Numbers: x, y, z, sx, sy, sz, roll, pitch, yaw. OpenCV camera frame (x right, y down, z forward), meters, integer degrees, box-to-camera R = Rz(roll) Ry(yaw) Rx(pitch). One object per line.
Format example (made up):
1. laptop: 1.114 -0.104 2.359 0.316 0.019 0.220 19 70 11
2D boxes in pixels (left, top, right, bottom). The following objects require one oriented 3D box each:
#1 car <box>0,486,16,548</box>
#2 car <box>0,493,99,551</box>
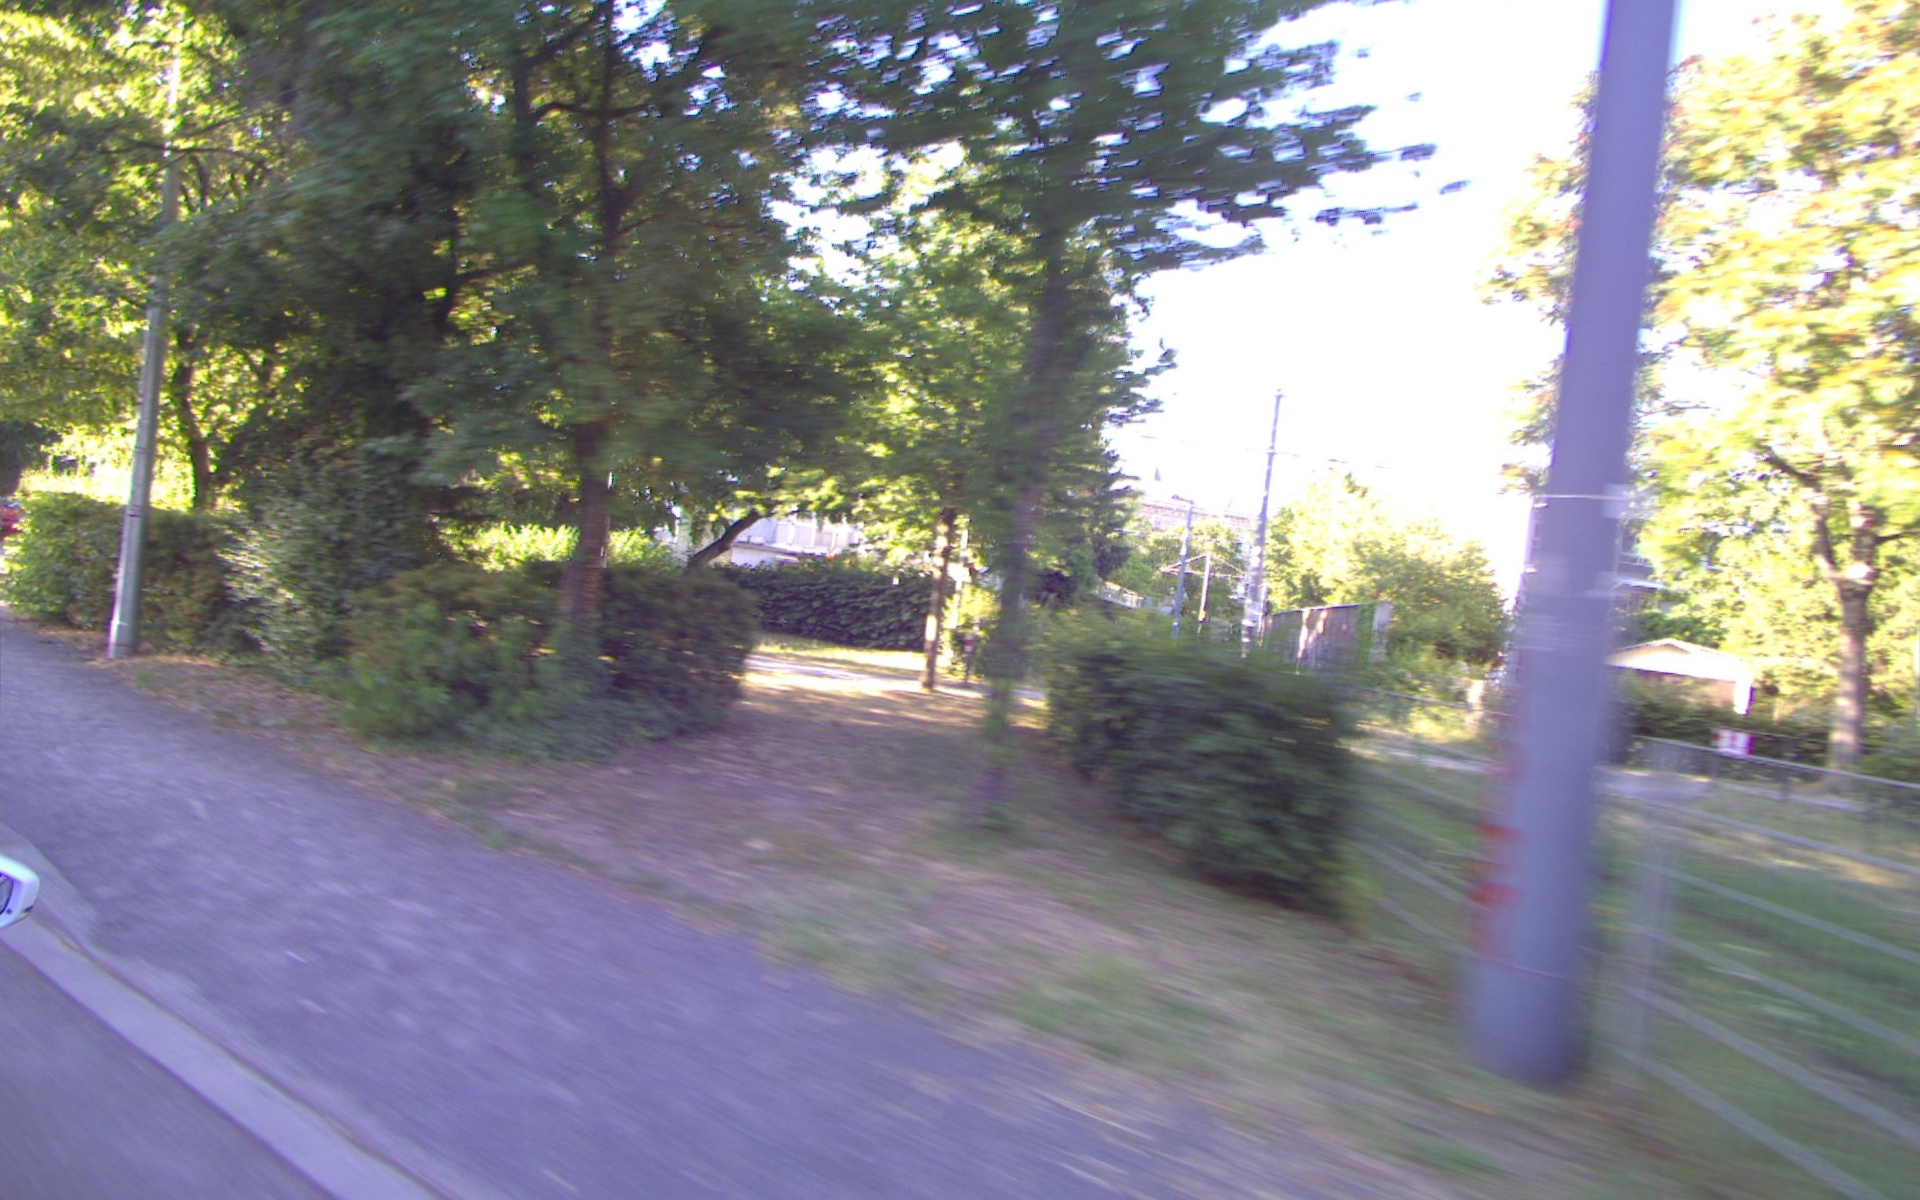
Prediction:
1. car: -26.990 -2.401 25.899 1.779 1.695 4.310 9 -1 -12
2. car: -28.088 -2.365 30.548 1.370 1.440 3.418 9 -1 -12
